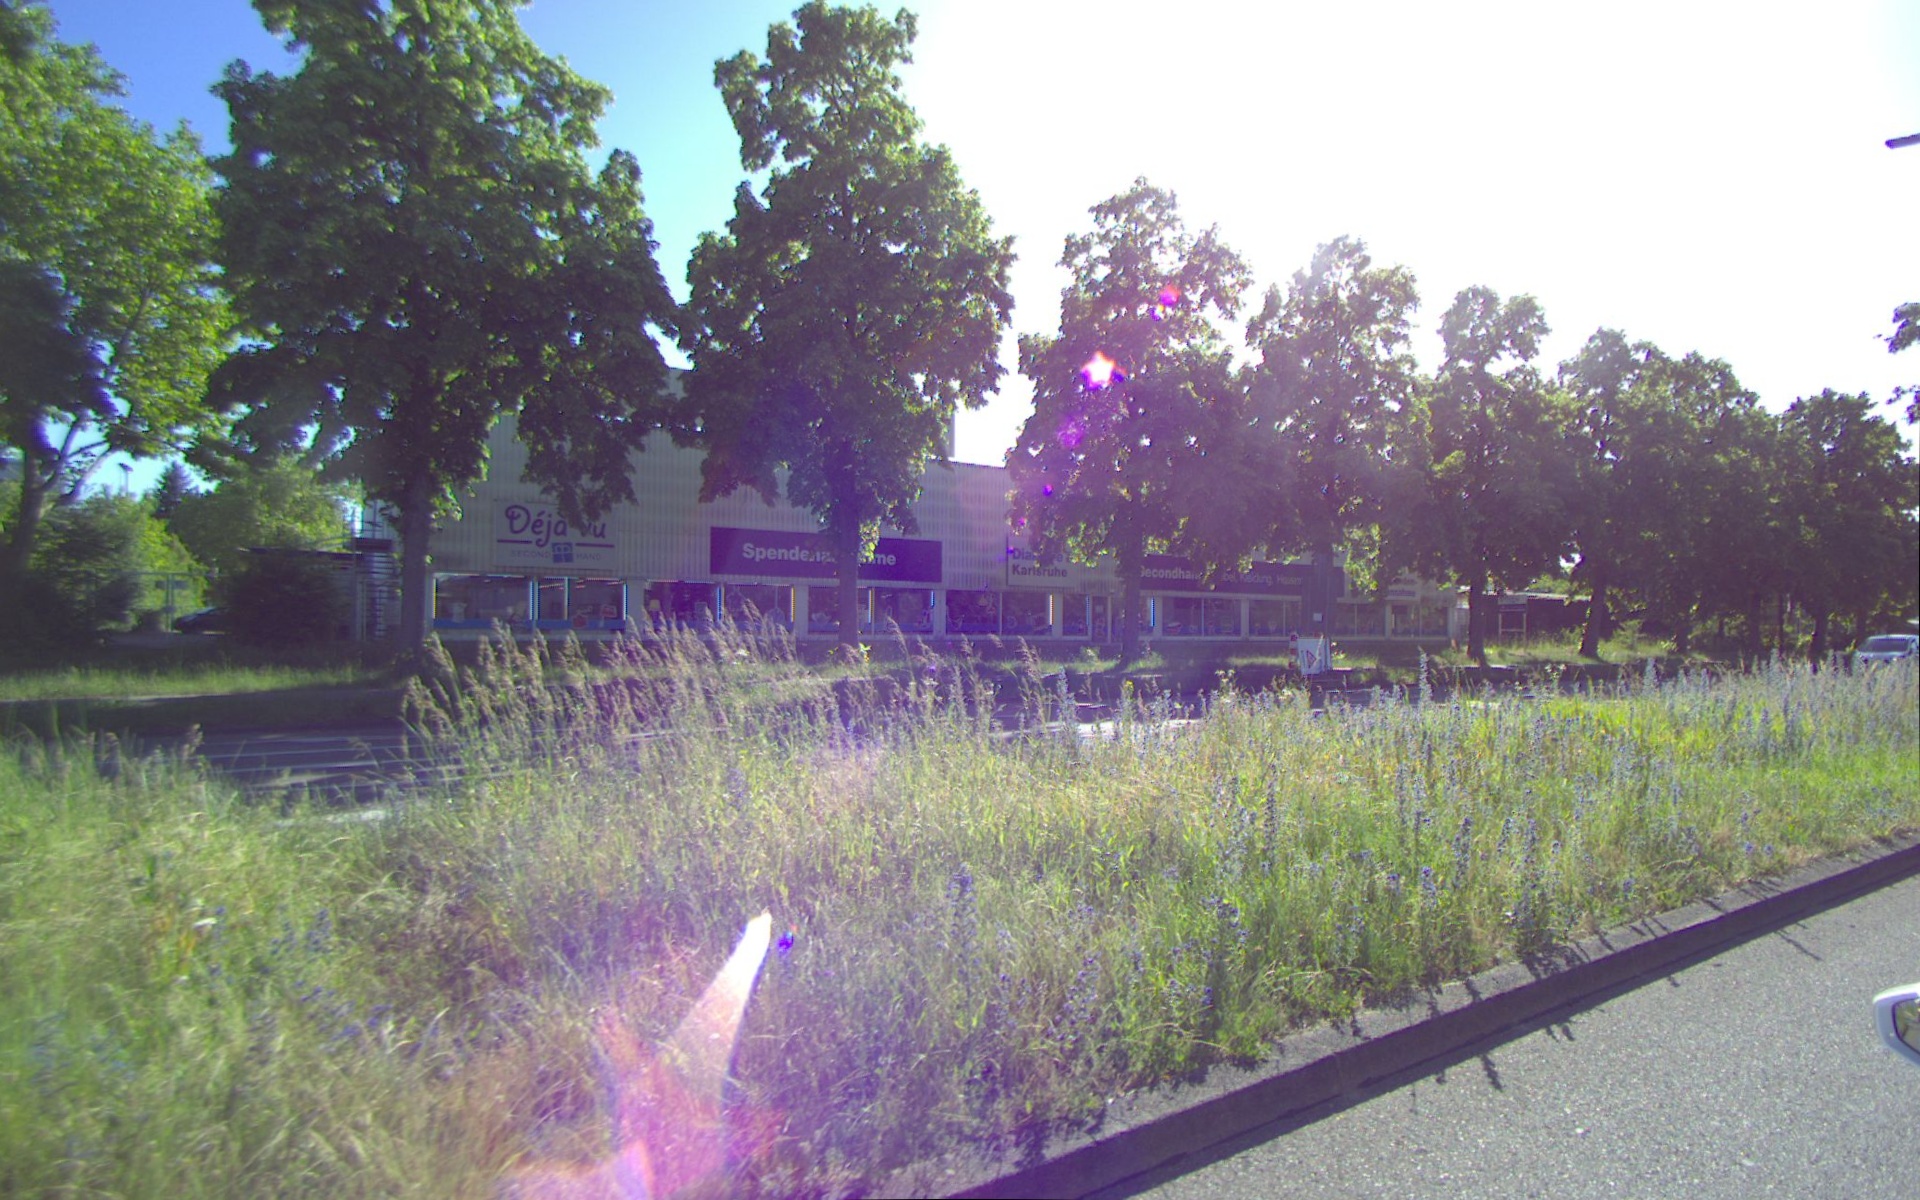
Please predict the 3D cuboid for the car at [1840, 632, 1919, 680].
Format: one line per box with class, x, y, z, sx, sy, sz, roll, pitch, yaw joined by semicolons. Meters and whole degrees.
car;36.129;2.152;39.223;4.124;1.769;1.695;2;-1;-35
